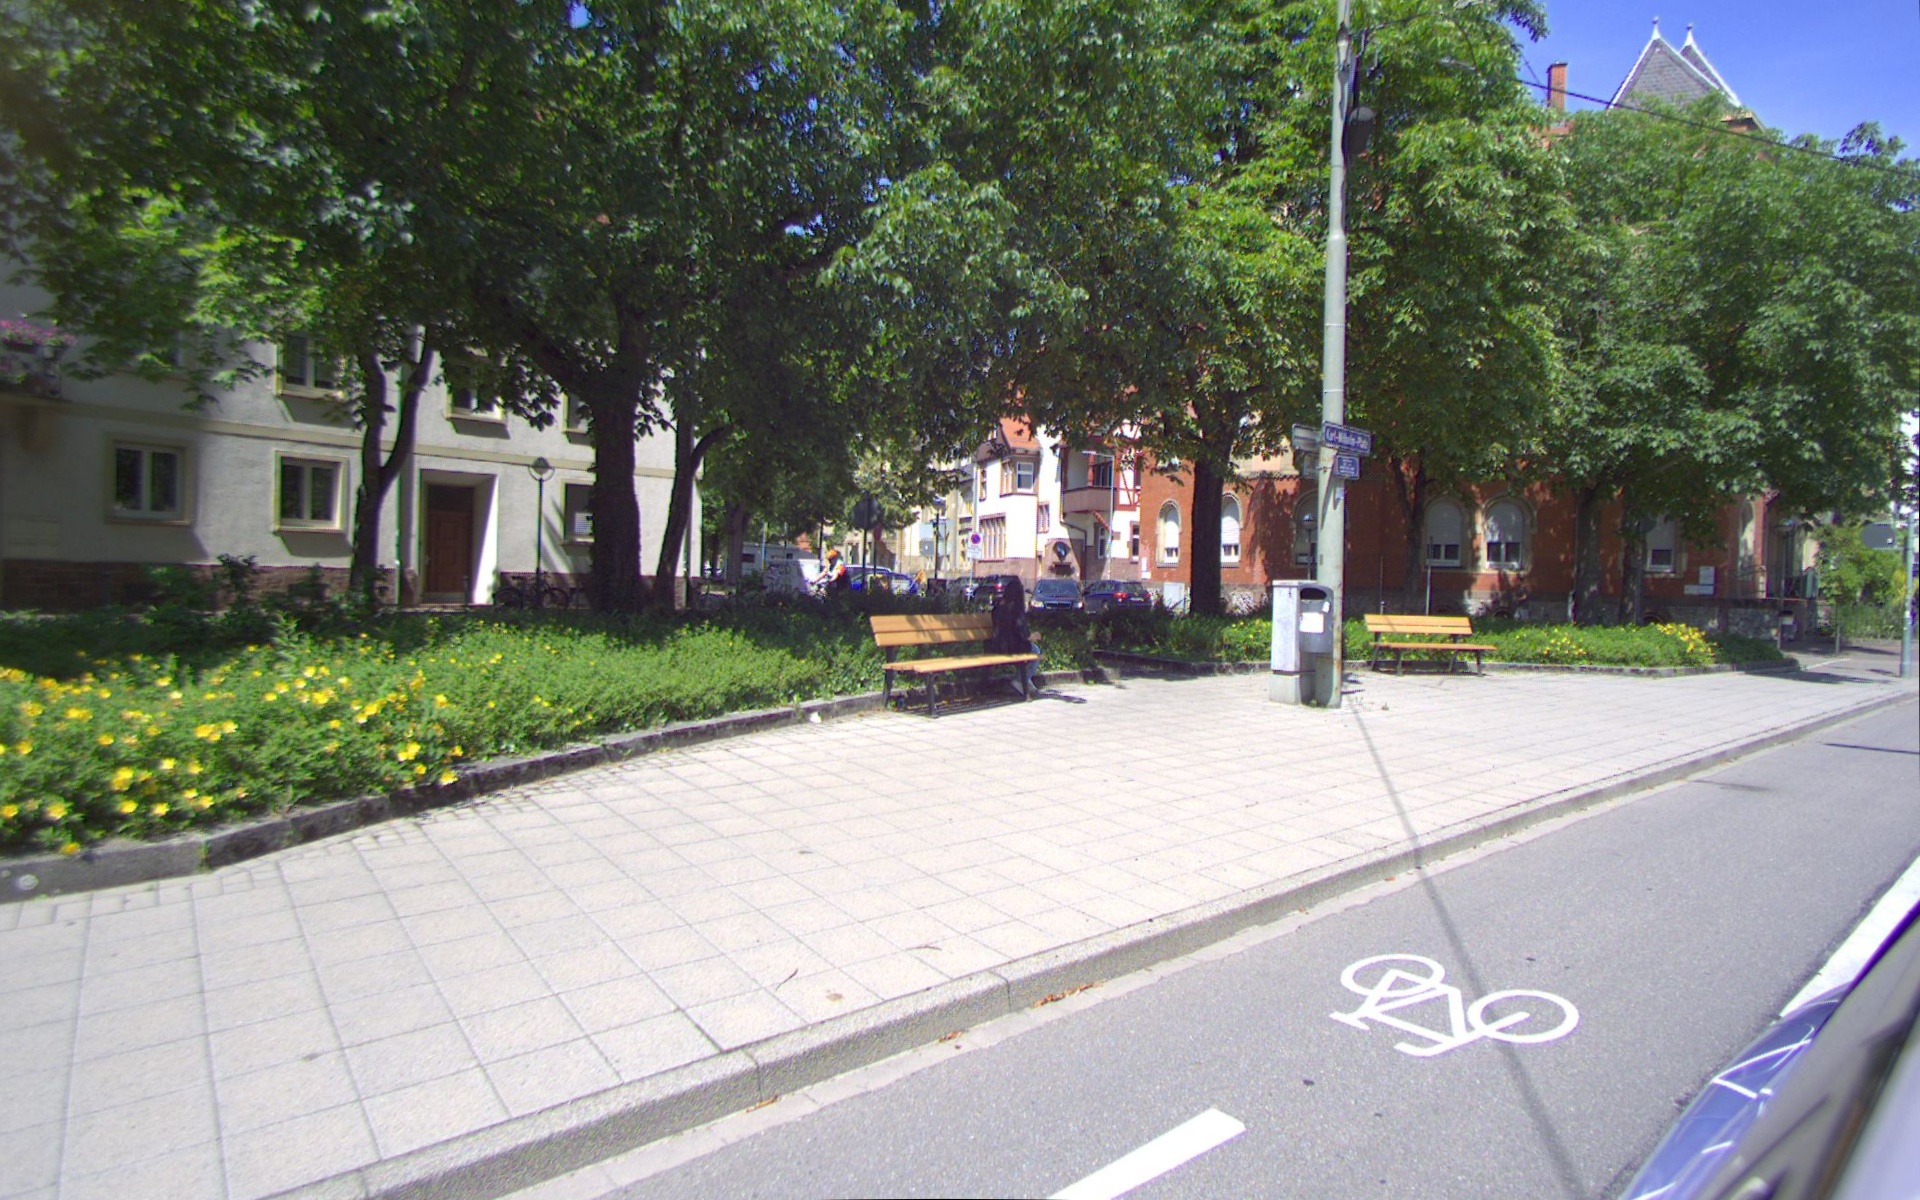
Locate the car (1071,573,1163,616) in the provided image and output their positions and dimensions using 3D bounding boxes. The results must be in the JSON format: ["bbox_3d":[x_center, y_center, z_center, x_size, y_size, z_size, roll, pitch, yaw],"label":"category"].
[{"bbox_3d":[6.270,-0.237,41.028,1.897,1.638,4.318,0,0,-19],"label":"car"}]

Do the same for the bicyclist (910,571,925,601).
[{"bbox_3d":[-2.035,-0.685,48.611,0.532,1.438,0.635,0,0,-21],"label":"bicyclist"}]

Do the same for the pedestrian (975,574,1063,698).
[{"bbox_3d":[0.593,0.335,10.077,0.562,1.156,0.718,3,2,33],"label":"pedestrian"}]

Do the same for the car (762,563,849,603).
[{"bbox_3d":[-8.089,-0.889,52.941,4.219,2.029,1.942,0,0,-18],"label":"car"}]

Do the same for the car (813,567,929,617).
[{"bbox_3d":[-3.549,-0.326,40.018,4.219,1.903,1.942,0,0,-18],"label":"car"}]

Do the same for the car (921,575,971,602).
[{"bbox_3d":[-0.923,-0.698,63.255,1.897,1.638,4.318,0,0,-19],"label":"car"}]

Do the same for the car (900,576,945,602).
[{"bbox_3d":[-2.570,-0.734,67.951,1.897,1.638,4.318,0,0,-19],"label":"car"}]

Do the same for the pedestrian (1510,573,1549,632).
[{"bbox_3d":[17.982,0.068,31.972,0.826,1.846,0.671,2,1,12],"label":"pedestrian"}]

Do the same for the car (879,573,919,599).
[{"bbox_3d":[-4.506,-1.014,74.464,1.897,1.897,4.318,0,0,-19],"label":"car"}]

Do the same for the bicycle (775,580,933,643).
[{"bbox_3d":[-2.274,0.217,22.431,3.683,1.279,0.953,-1,0,-44],"label":"bicycle"}]

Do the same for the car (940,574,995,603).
[{"bbox_3d":[0.375,-0.661,58.684,1.897,1.638,4.318,0,0,-19],"label":"car"}]

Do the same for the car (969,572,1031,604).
[{"bbox_3d":[2.062,-0.625,54.077,1.897,1.638,4.318,0,0,-19],"label":"car"}]

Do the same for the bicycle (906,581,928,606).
[{"bbox_3d":[-2.058,-0.298,48.676,0.532,1.172,1.784,0,0,-21],"label":"bicycle"}]

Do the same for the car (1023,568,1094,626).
[{"bbox_3d":[3.075,-0.109,30.839,1.906,1.638,4.513,0,0,9],"label":"car"}]

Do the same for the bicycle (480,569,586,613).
[{"bbox_3d":[-10.258,-0.225,24.378,2.230,1.024,0.751,-1,0,-41],"label":"bicycle"}]

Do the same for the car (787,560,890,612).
[{"bbox_3d":[-5.376,-0.633,44.831,4.219,2.219,1.942,0,0,-18],"label":"car"}]

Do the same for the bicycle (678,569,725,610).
[{"bbox_3d":[-6.780,-0.262,26.478,0.736,1.024,2.273,0,0,-26],"label":"bicycle"}]

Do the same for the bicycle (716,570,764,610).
[{"bbox_3d":[-5.873,-0.271,26.907,0.736,1.024,2.273,0,0,-26],"label":"bicycle"}]

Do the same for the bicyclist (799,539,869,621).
[{"bbox_3d":[-2.744,-0.430,22.015,1.233,1.717,0.872,0,0,-43],"label":"bicyclist"}]
